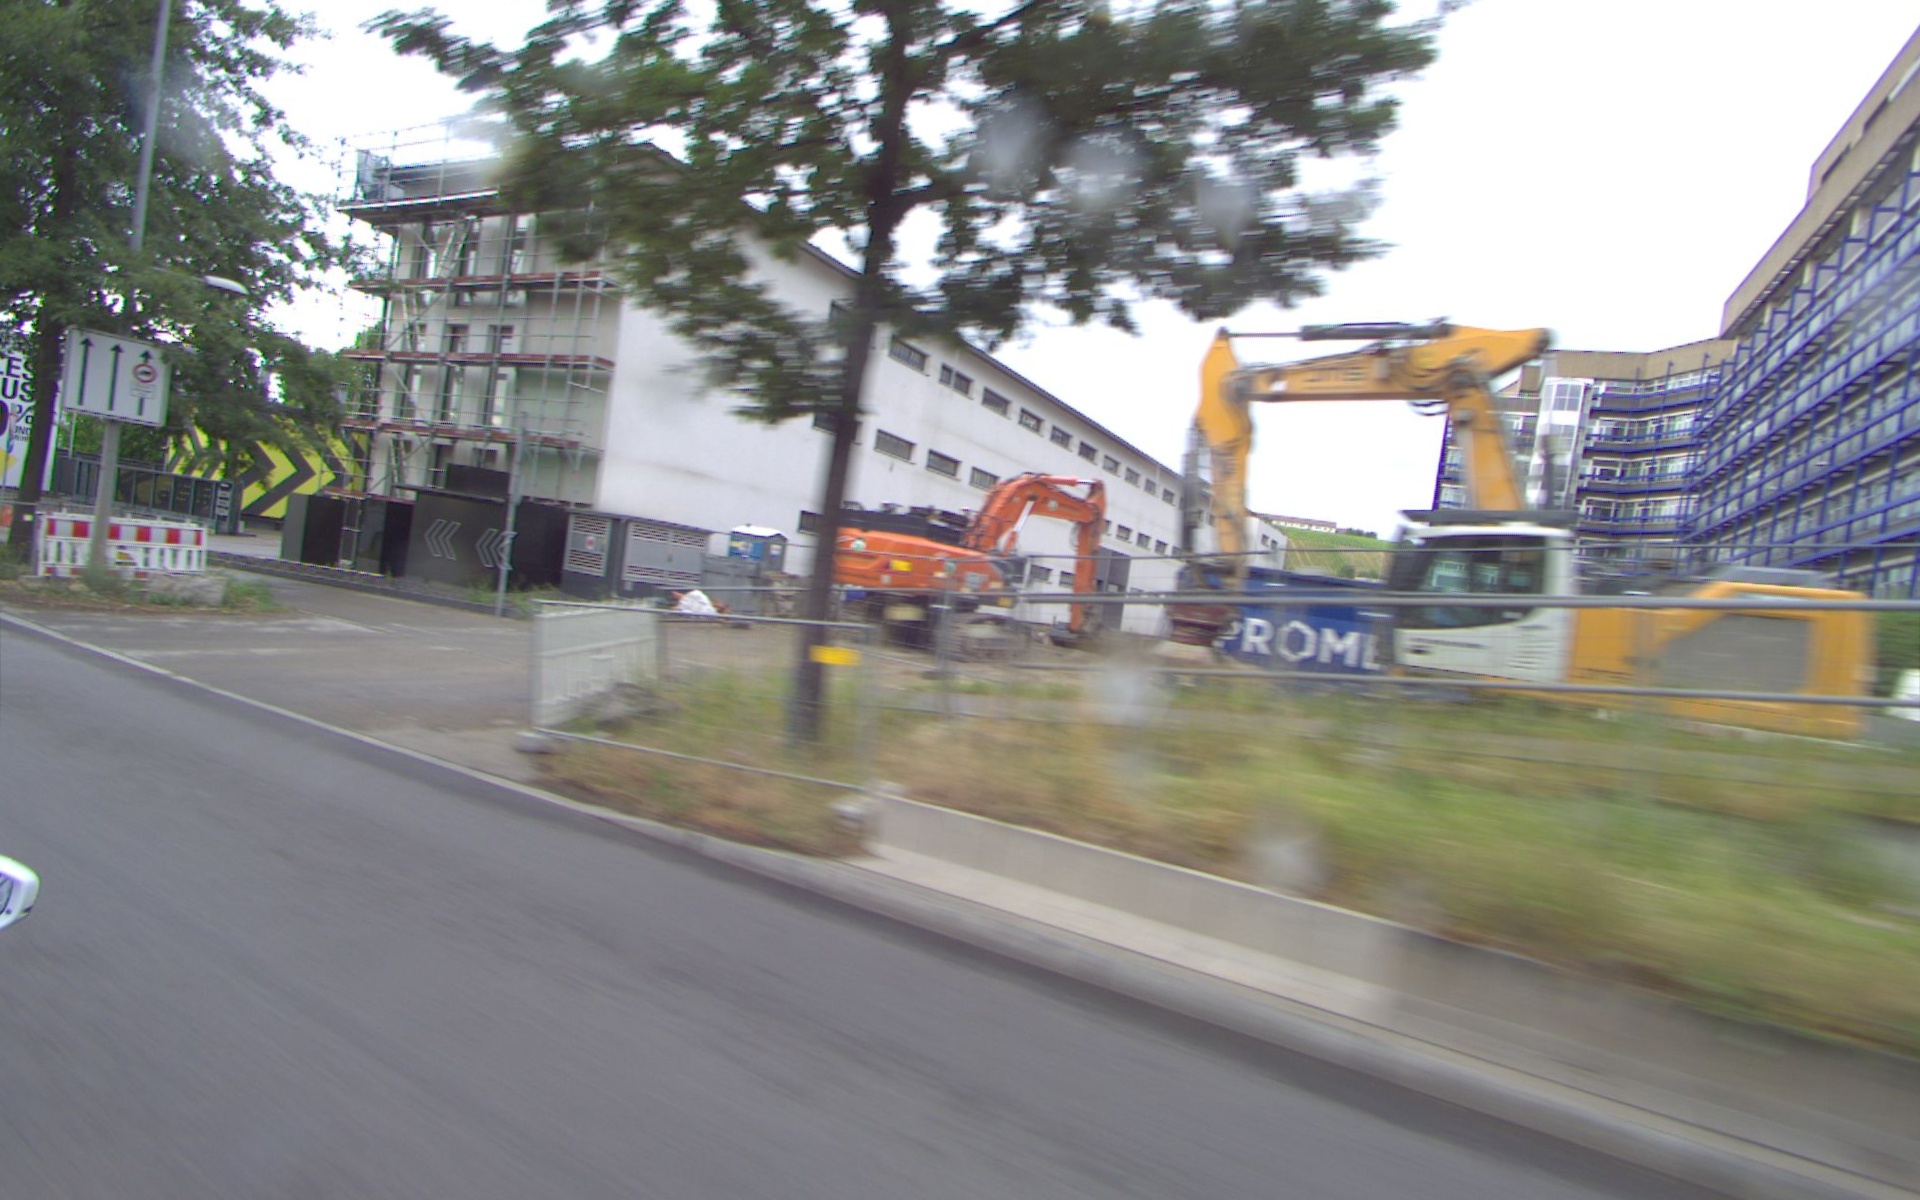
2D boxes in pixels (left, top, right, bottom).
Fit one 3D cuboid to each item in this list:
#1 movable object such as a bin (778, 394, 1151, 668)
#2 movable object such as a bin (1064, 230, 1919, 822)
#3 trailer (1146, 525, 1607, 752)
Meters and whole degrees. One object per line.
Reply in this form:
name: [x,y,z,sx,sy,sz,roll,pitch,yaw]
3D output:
movable object such as a bin: [0.920,-1.141,25.904,3.725,5.326,12.160,6,0,29]
movable object such as a bin: [6.290,-0.930,13.399,8.620,5.750,3.296,6,-2,32]
trailer: [7.479,0.705,19.057,7.355,3.077,2.650,7,-2,7]
